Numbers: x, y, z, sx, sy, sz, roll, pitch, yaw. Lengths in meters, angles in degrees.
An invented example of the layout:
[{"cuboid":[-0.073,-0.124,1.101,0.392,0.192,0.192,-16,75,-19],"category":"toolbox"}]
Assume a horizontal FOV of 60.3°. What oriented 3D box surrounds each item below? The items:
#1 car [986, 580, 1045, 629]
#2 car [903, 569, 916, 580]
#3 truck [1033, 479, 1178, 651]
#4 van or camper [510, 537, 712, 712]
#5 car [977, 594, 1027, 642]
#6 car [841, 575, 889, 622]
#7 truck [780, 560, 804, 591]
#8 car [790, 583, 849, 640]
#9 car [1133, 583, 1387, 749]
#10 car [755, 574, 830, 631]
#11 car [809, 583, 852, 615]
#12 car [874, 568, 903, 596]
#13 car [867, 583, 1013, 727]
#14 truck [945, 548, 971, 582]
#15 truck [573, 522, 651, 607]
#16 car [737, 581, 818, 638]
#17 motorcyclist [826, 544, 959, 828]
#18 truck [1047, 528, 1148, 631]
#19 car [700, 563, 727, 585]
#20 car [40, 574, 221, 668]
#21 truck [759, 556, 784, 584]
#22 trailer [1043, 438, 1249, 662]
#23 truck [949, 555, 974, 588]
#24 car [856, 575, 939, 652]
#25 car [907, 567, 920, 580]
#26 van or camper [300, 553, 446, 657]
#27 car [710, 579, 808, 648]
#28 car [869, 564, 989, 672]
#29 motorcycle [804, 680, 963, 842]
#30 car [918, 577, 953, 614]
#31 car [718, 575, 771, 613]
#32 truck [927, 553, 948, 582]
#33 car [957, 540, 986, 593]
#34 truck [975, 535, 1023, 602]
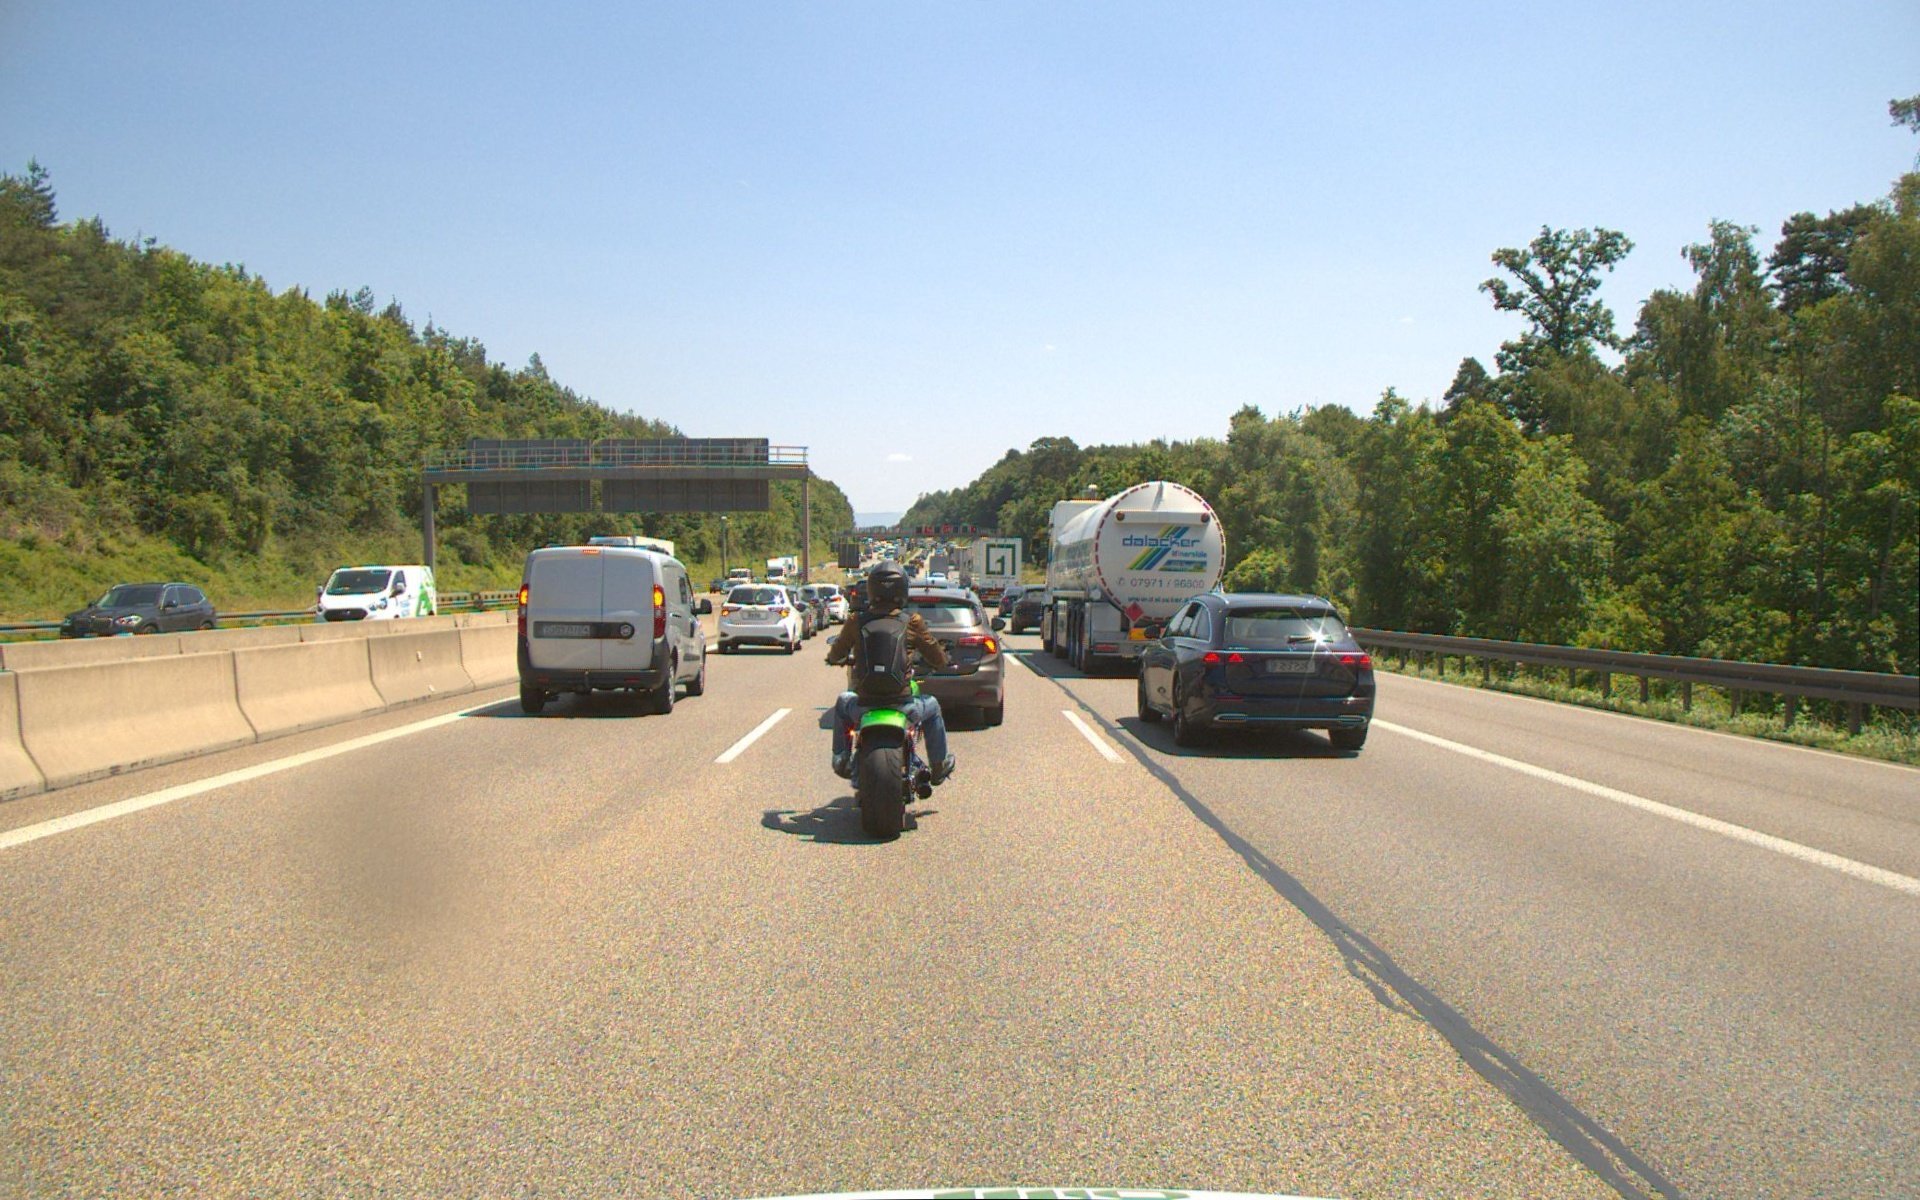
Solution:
[{"cuboid":[1.815,0.164,54.878,1.740,1.554,3.999,1,0,-1],"category":"car"},{"cuboid":[-7.134,-3.614,233.456,1.734,1.583,3.999,0,0,-1],"category":"car"},{"cuboid":[3.330,-0.749,39.522,2.770,3.735,6.428,1,0,-1],"category":"truck"},{"cuboid":[-4.203,0.234,20.608,1.816,1.913,4.558,1,1,-4],"category":"van or camper"},{"cuboid":[1.848,0.798,73.920,1.953,2.049,3.998,1,0,-2],"category":"car"},{"cuboid":[-4.317,-0.058,75.545,1.953,2.049,3.999,1,0,-1],"category":"car"},{"cuboid":[-23.619,-3.423,232.702,2.637,4.059,7.989,1,0,-1],"category":"truck"},{"cuboid":[-5.267,0.426,62.473,1.953,2.049,3.999,1,0,-1],"category":"car"},{"cuboid":[2.972,0.619,17.361,1.755,1.484,4.623,1,0,-1],"category":"car"},{"cuboid":[-5.237,0.086,52.308,1.953,1.713,4.329,1,0,-1],"category":"car"},{"cuboid":[-6.176,-0.012,79.178,1.728,1.467,3.999,1,0,0],"category":"car"},{"cuboid":[-5.298,-1.316,122.932,1.953,2.049,3.999,0,0,-1],"category":"car"},{"cuboid":[-0.233,0.556,19.253,1.509,1.475,3.999,1,0,-1],"category":"car"},{"cuboid":[-0.274,-3.718,176.353,2.641,3.465,10.476,0,0,-1],"category":"truck"},{"cuboid":[-19.622,-1.920,93.691,2.889,4.560,7.516,1,-1,-2],"category":"truck"},{"cuboid":[-5.058,0.275,46.339,1.953,1.490,3.998,1,0,-2],"category":"car"},{"cuboid":[-0.416,0.528,10.574,0.782,1.717,1.016,1,-1,-1],"category":"motorcyclist"},{"cuboid":[4.318,-0.644,53.466,2.340,3.031,8.250,1,1,-2],"category":"truck"},{"cuboid":[-23.760,-2.473,159.524,1.953,2.049,3.999,1,0,-1],"category":"car"},{"cuboid":[-19.355,0.488,38.860,2.071,2.049,4.476,1,0,-2],"category":"car"},{"cuboid":[-21.217,-3.317,186.010,2.133,2.935,6.740,1,0,-1],"category":"truck"},{"cuboid":[3.415,-0.809,33.290,2.770,3.735,10.730,1,0,-1],"category":"trailer"},{"cuboid":[0.084,-1.906,113.045,1.558,2.148,3.752,1,0,2],"category":"truck"},{"cuboid":[-1.533,0.341,41.296,1.953,1.806,3.998,1,0,-2],"category":"car"},{"cuboid":[-7.261,-4.145,260.622,1.953,2.049,3.999,0,0,-1],"category":"car"},{"cuboid":[-15.261,0.141,43.315,1.953,2.426,4.808,-4,0,0],"category":"van or camper"},{"cuboid":[-4.444,0.300,37.060,1.740,1.435,3.999,1,0,-1],"category":"car"},{"cuboid":[-0.560,0.312,29.173,1.953,1.741,3.998,1,0,-2],"category":"car"},{"cuboid":[-0.459,0.996,10.795,0.917,0.807,2.298,1,0,-1],"category":"motorcycle"},{"cuboid":[-1.385,-0.278,93.338,1.953,2.049,3.999,0,0,-1],"category":"car"},{"cuboid":[-8.900,-0.270,68.539,1.788,1.521,3.999,0,1,-2],"category":"car"},{"cuboid":[-2.835,-4.006,208.444,2.641,3.465,10.476,0,0,-1],"category":"truck"},{"cuboid":[0.871,-2.612,132.749,2.123,3.961,9.328,1,0,-1],"category":"car"},{"cuboid":[2.416,-1.870,101.765,2.794,3.888,7.189,1,0,2],"category":"truck"}]
